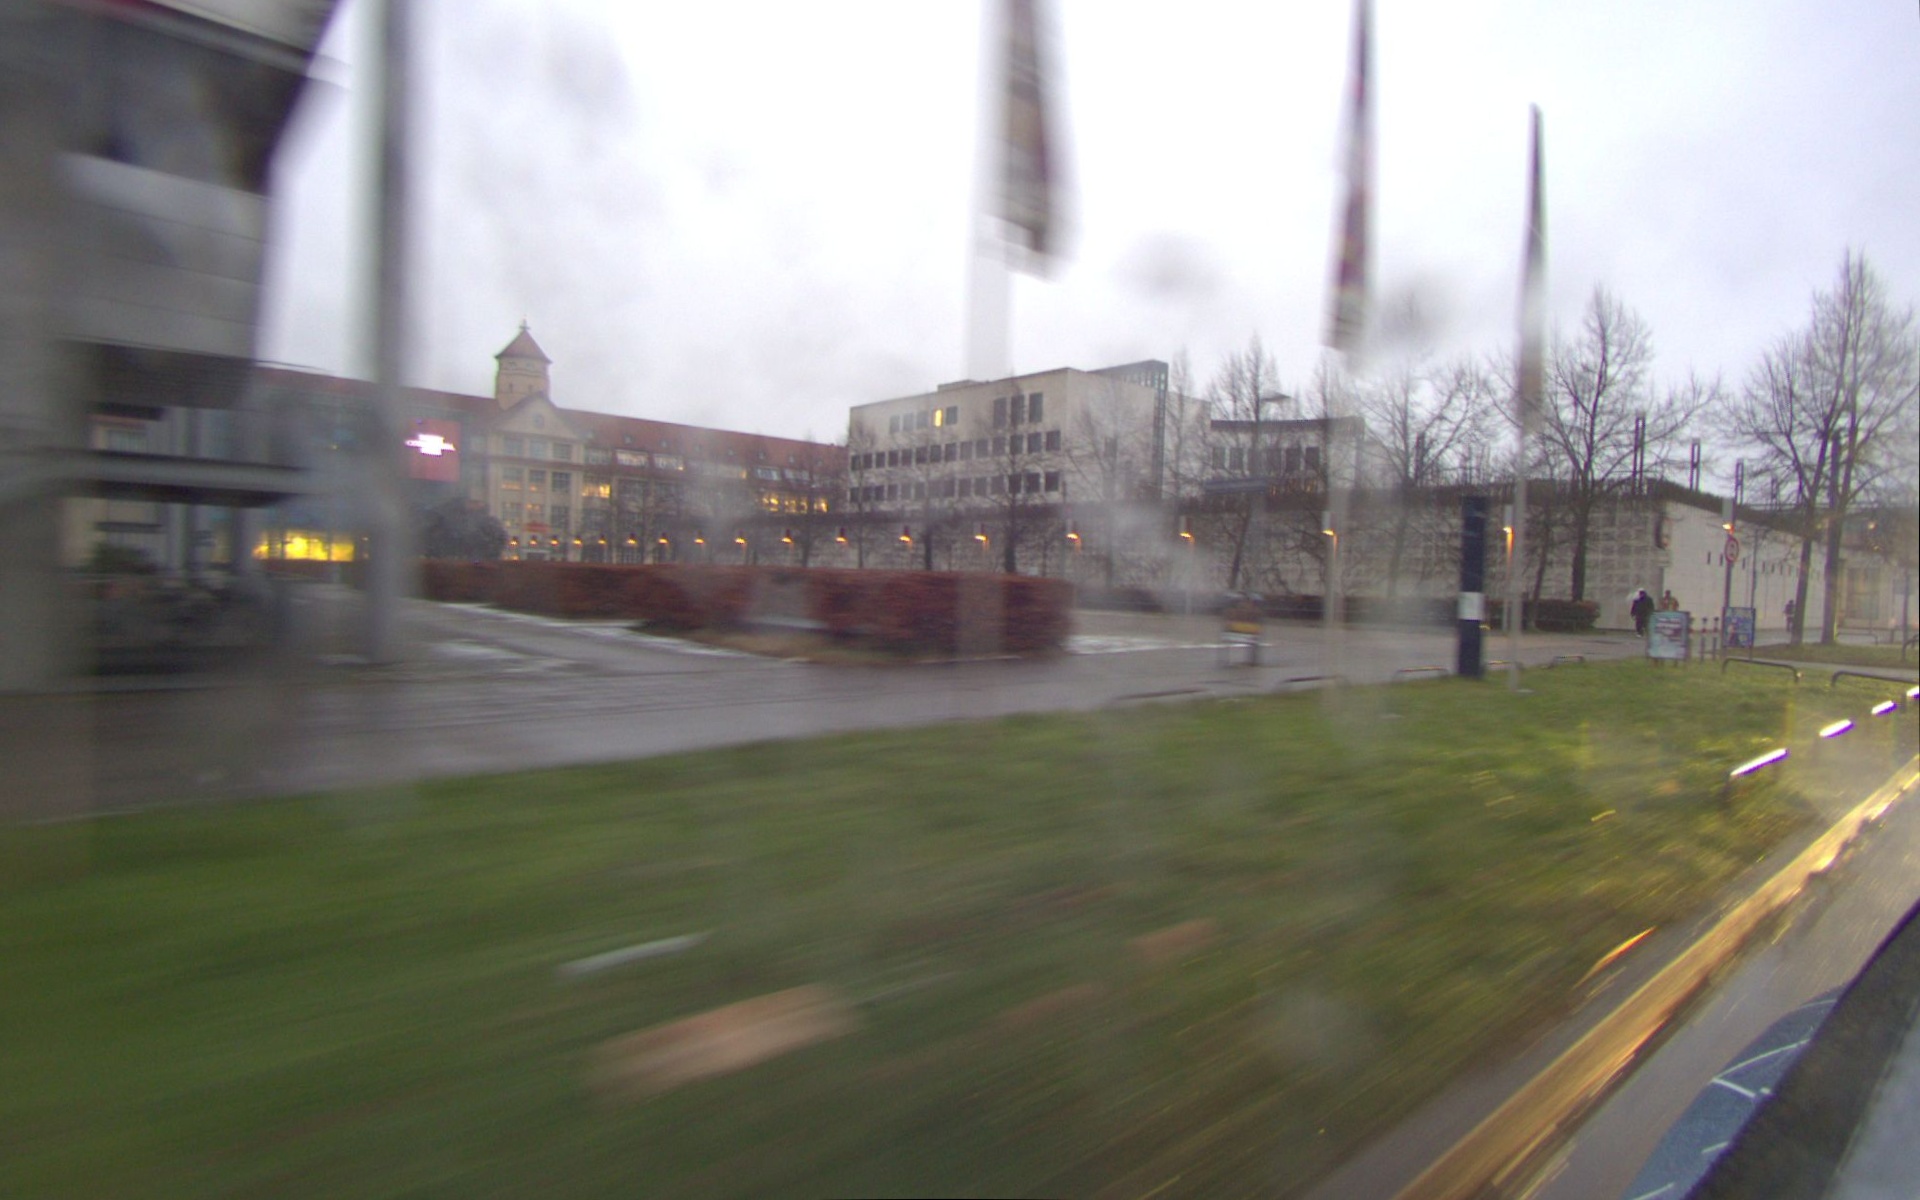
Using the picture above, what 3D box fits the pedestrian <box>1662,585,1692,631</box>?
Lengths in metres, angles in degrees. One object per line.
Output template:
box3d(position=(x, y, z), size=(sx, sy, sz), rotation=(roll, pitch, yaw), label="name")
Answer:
box3d(position=(25.653, 0.272, 36.193), size=(0.602, 1.632, 0.676), rotation=(0, -1, -27), label="pedestrian")

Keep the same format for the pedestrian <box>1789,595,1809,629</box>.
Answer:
box3d(position=(42.590, 0.596, 51.397), size=(0.667, 1.675, 0.979), rotation=(3, 2, 44), label="pedestrian")

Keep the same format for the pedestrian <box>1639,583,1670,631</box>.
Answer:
box3d(position=(24.087, 0.249, 35.127), size=(0.601, 1.646, 0.676), rotation=(0, -1, -26), label="pedestrian")

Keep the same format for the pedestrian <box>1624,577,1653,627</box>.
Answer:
box3d(position=(25.047, 0.075, 37.365), size=(0.602, 1.800, 0.676), rotation=(0, -1, -27), label="pedestrian")
